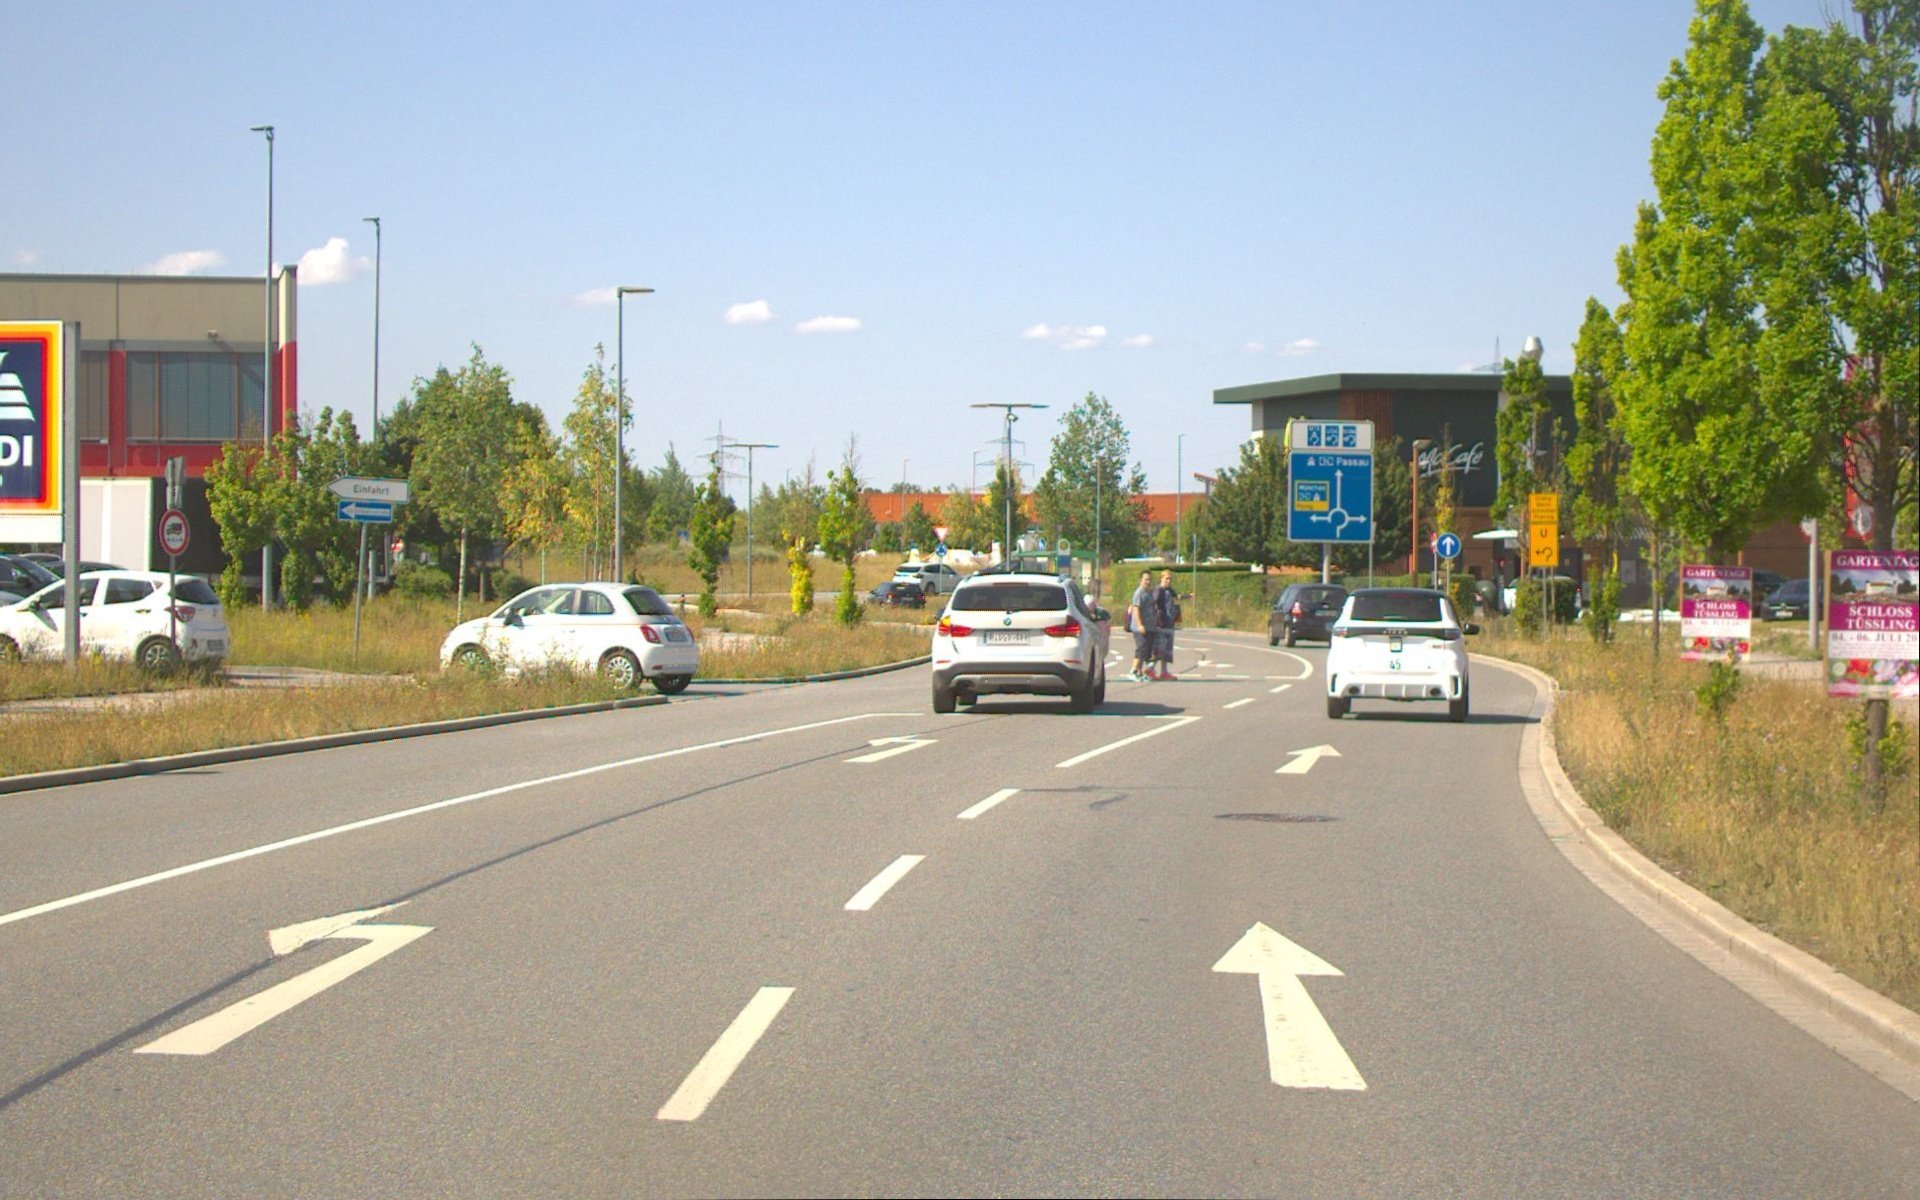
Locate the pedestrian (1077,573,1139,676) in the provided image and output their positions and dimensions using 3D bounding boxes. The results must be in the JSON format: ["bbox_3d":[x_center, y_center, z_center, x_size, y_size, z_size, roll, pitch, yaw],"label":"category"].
[{"bbox_3d":[2.160,0.350,49.986,0.793,1.465,0.949,1,0,8],"label":"pedestrian"}]

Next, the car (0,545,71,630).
[{"bbox_3d":[-18.605,-0.247,62.050,4.606,1.507,1.838,0,0,2],"label":"car"}]

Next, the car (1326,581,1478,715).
[{"bbox_3d":[5.064,0.505,39.125,1.617,1.429,3.791,1,0,9],"label":"car"}]

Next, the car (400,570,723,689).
[{"bbox_3d":[-5.487,0.380,47.323,3.992,1.542,1.915,1,0,24],"label":"car"}]

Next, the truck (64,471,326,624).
[{"bbox_3d":[-18.013,-1.209,81.480,2.319,3.452,7.486,1,0,20],"label":"truck"}]

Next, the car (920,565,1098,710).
[{"bbox_3d":[0.596,0.385,39.230,1.911,1.542,4.226,0,0,2],"label":"car"}]

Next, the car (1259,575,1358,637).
[{"bbox_3d":[8.314,0.118,82.204,1.616,1.429,3.793,0,0,-6],"label":"car"}]

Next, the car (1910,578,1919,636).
[{"bbox_3d":[26.874,0.173,88.629,4.203,1.485,1.869,0,1,-6],"label":"car"}]

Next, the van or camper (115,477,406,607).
[{"bbox_3d":[-19.186,-1.575,94.688,7.690,3.456,2.556,0,0,-8],"label":"van or camper"}]

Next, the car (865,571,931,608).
[{"bbox_3d":[-2.536,-0.432,139.516,1.993,1.435,4.001,0,1,-12],"label":"car"}]

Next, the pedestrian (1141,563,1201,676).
[{"bbox_3d":[3.102,0.281,50.492,0.801,1.624,0.804,1,0,8],"label":"pedestrian"}]

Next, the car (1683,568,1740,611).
[{"bbox_3d":[28.630,-0.421,130.848,1.794,1.599,3.997,0,0,17],"label":"car"}]

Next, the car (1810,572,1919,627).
[{"bbox_3d":[26.301,-0.028,96.128,4.524,1.485,1.869,0,1,-6],"label":"car"}]

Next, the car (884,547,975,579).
[{"bbox_3d":[-1.450,-1.771,163.659,3.989,1.459,1.999,-1,1,-41],"label":"car"}]

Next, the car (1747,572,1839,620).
[{"bbox_3d":[25.838,-0.146,106.606,1.700,1.457,4.162,0,1,30],"label":"car"}]

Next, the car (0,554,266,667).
[{"bbox_3d":[-12.108,0.131,48.777,3.989,1.542,1.917,1,0,10],"label":"car"}]

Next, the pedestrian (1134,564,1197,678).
[{"bbox_3d":[2.983,0.299,49.783,0.809,1.623,0.866,1,0,8],"label":"pedestrian"}]
